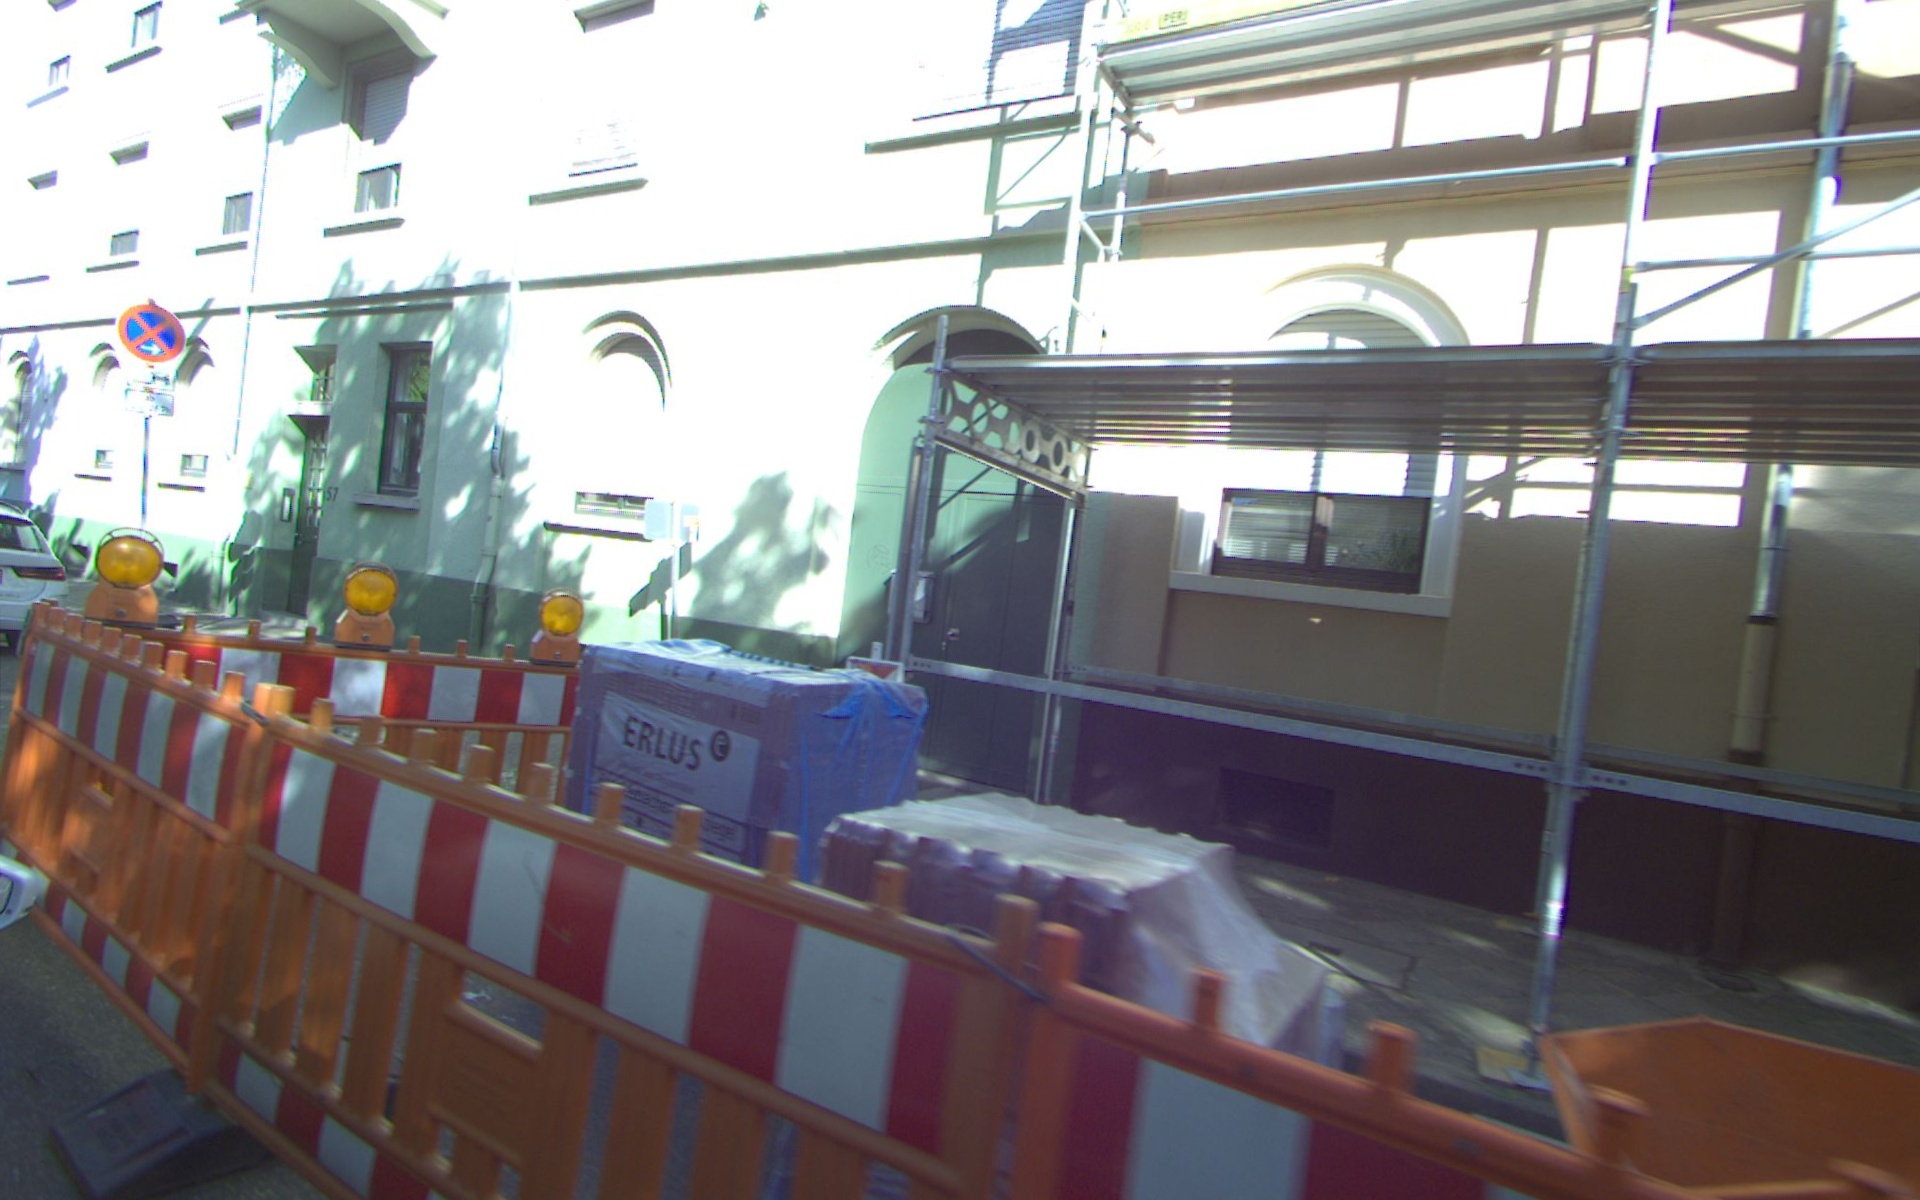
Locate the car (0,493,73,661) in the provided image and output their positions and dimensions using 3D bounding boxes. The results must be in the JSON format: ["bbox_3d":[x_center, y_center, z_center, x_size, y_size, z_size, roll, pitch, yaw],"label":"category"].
[{"bbox_3d":[-10.814,-0.452,10.034,4.212,1.530,1.707,7,0,31],"label":"car"}]
